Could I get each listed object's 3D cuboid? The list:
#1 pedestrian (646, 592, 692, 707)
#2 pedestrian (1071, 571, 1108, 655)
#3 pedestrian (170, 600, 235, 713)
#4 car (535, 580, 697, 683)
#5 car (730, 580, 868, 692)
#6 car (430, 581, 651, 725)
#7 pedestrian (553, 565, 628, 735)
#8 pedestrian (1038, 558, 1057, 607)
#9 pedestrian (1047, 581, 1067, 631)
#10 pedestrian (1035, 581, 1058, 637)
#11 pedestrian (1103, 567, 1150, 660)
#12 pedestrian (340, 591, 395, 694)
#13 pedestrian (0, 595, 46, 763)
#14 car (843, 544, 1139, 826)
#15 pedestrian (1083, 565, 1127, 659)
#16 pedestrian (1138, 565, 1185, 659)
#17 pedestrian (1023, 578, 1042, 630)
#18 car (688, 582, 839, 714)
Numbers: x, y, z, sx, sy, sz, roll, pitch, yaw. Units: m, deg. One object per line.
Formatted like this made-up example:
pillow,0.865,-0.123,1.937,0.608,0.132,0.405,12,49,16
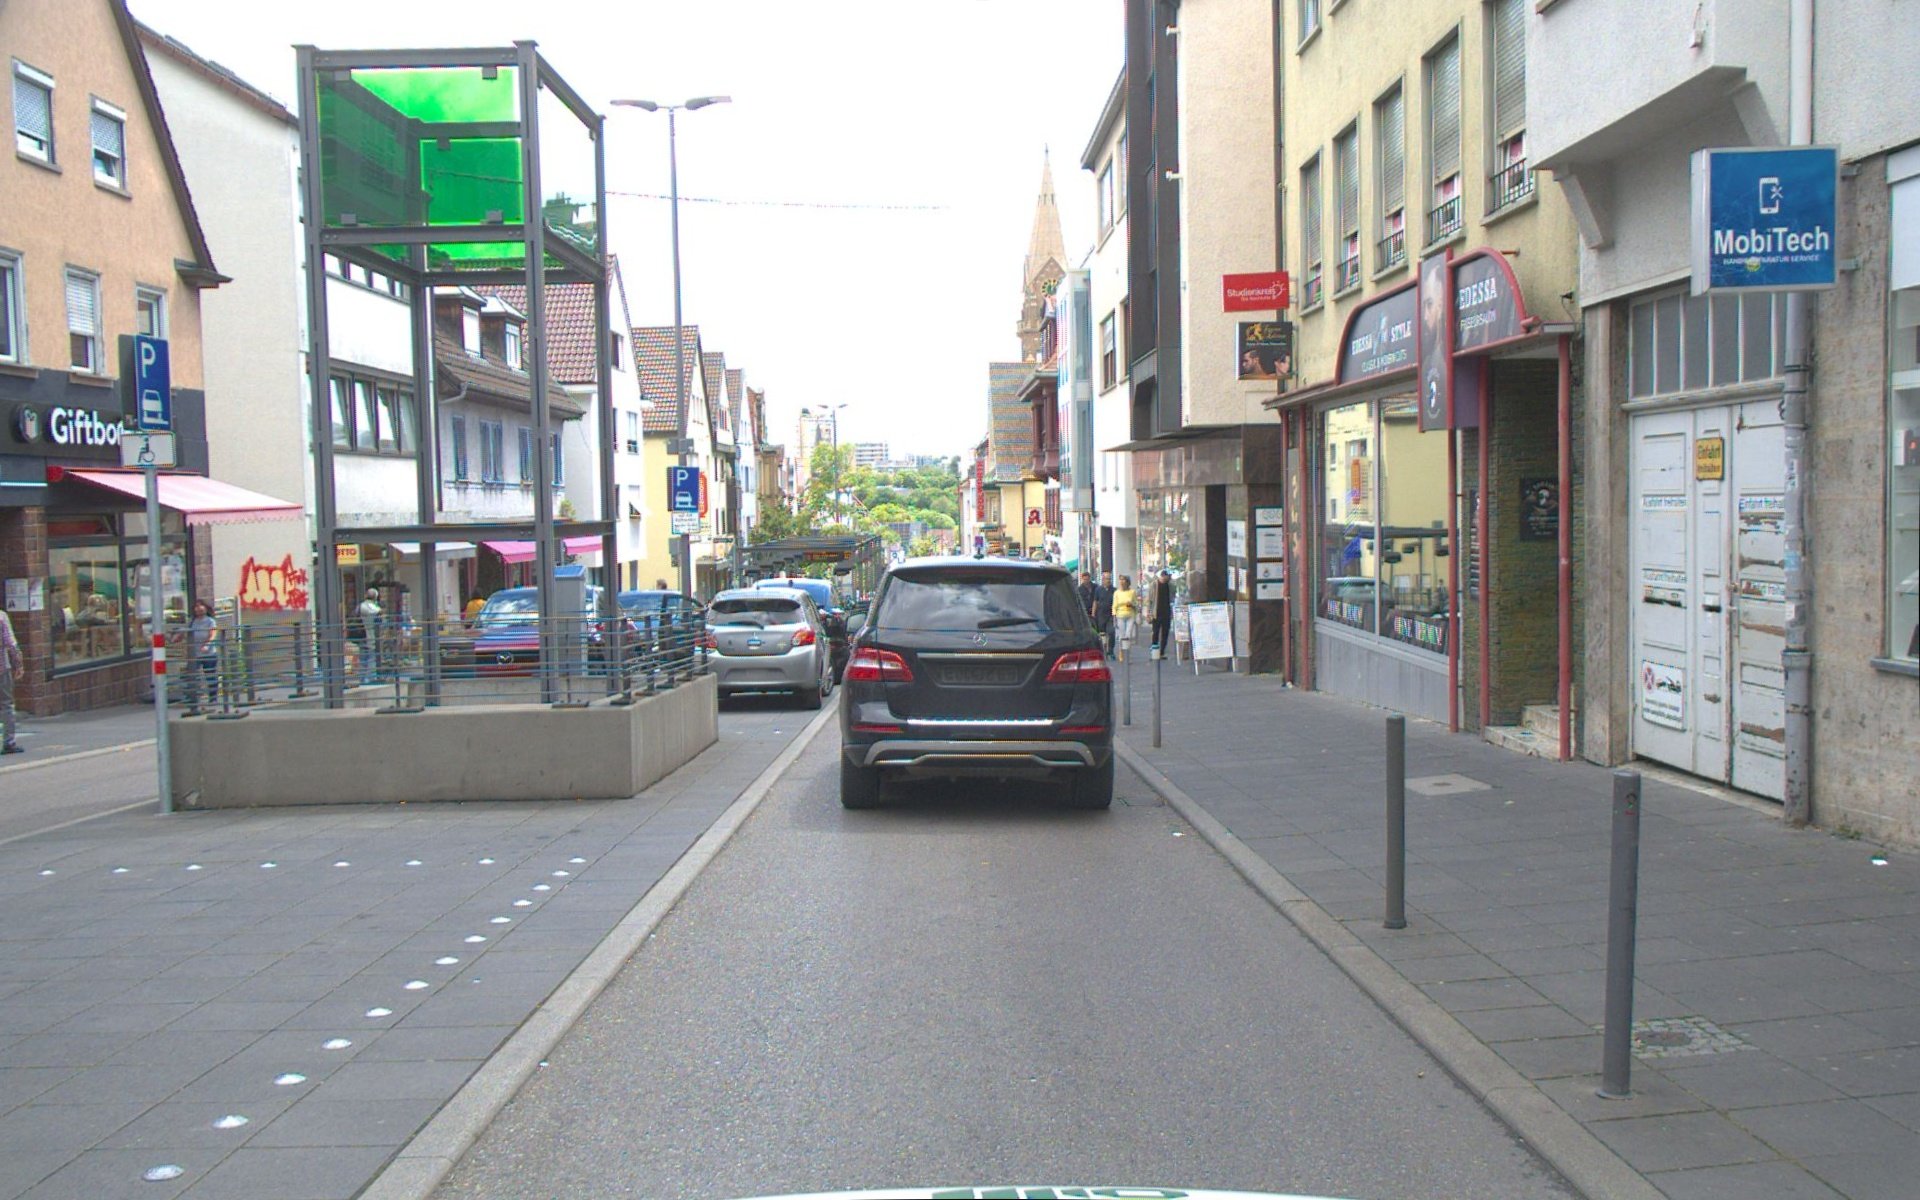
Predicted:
pedestrian,-3.789,0.641,21.584,0.457,1.456,0.492,-3,0,-1
pedestrian,2.776,0.267,35.473,0.696,1.784,0.787,-1,1,-1
pedestrian,-11.146,0.816,24.344,0.553,1.601,0.716,-3,0,-1
car,-5.507,0.451,26.901,1.703,1.501,3.885,1,1,1
car,-2.562,0.543,27.242,1.917,1.668,4.313,1,0,-1
car,-5.006,0.576,20.284,1.704,1.570,4.192,1,0,-1
pedestrian,-3.780,0.492,16.960,0.522,1.701,0.901,0,1,2
pedestrian,3.131,-0.618,59.108,0.562,1.718,0.565,1,0,-7
pedestrian,3.413,0.194,58.098,0.562,1.718,0.565,-2,0,-7
pedestrian,2.678,0.289,51.252,0.609,1.718,0.565,1,0,-7
pedestrian,3.062,0.246,30.461,0.697,1.659,0.835,-3,0,-1
pedestrian,-10.068,0.711,28.102,0.634,1.718,0.663,0,0,39
pedestrian,-10.110,0.810,17.287,0.626,1.718,0.828,0,0,3
car,0.110,0.538,12.517,1.862,1.777,3.998,1,0,-3
pedestrian,2.846,0.228,32.460,0.697,1.784,0.785,-3,0,-1
pedestrian,3.779,0.222,31.113,0.650,1.718,0.542,-4,1,-7
pedestrian,2.492,0.129,56.602,0.532,1.756,0.527,-1,0,-7
car,-2.476,0.568,21.550,1.587,1.559,3.669,1,0,-1
